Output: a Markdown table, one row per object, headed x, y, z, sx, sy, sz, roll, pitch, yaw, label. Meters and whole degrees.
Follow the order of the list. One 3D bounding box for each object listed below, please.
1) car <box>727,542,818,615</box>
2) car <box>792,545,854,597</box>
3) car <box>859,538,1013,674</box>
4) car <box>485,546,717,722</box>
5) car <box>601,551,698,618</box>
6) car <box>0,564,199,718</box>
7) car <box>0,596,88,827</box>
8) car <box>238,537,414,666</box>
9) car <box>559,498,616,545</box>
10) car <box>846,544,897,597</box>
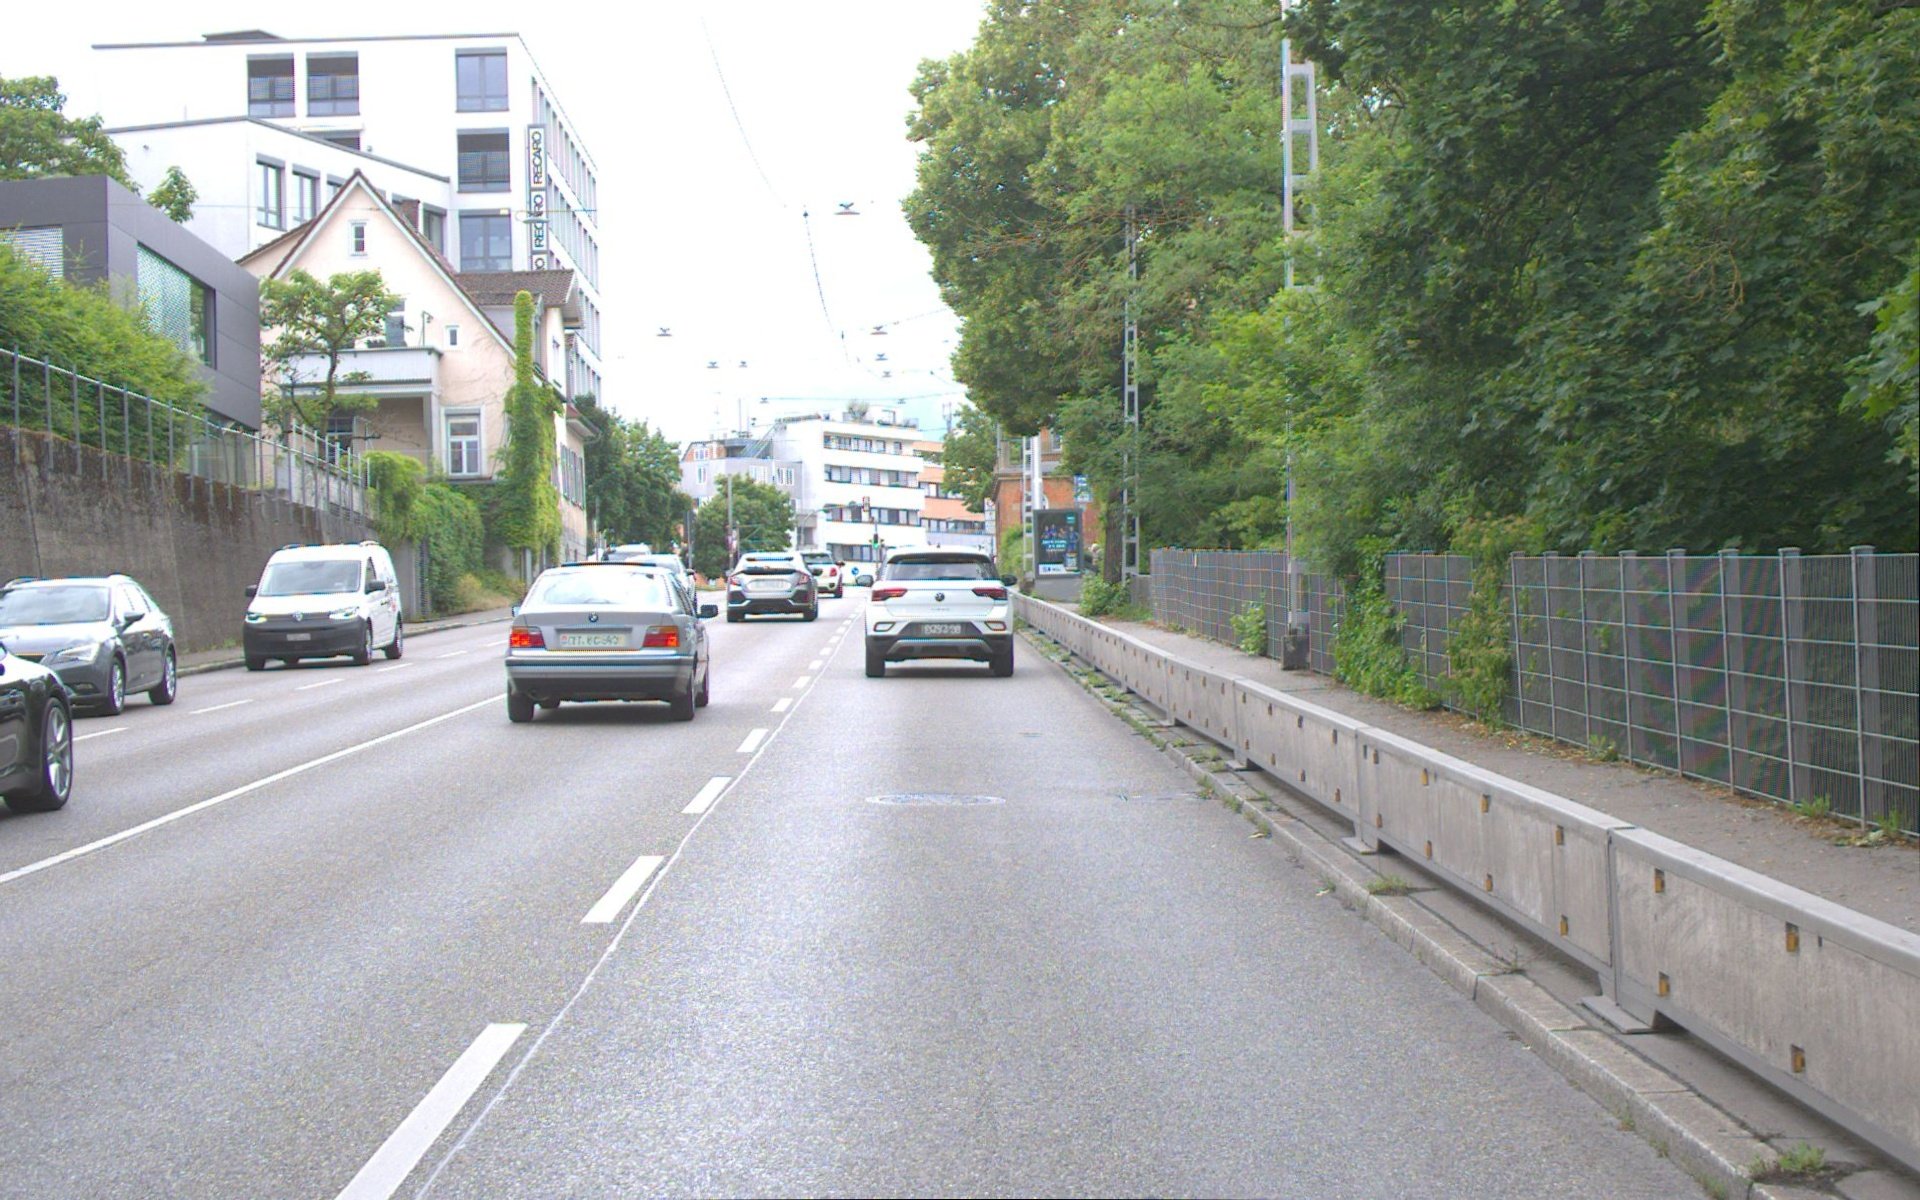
| x | y | z | sx | sy | sz | roll | pitch | yaw | label |
| --- | --- | --- | --- | --- | --- | --- | --- | --- | --- |
| -3.860 | -0.470 | 71.352 | 1.706 | 1.459 | 4.000 | -1 | 1 | -1 | car |
| -4.047 | -0.876 | 101.831 | 1.706 | 1.459 | 4.000 | -1 | 1 | -1 | car |
| -0.337 | 0.038 | 41.832 | 1.780 | 1.573 | 4.000 | 0 | 1 | -2 | car |
| -3.176 | 0.254 | 31.073 | 1.706 | 1.459 | 4.000 | -1 | 1 | -1 | car |
| -7.082 | -0.381 | 78.712 | 1.815 | 1.382 | 4.463 | -3 | 1 | -1 | car |
| -9.420 | 0.400 | 36.412 | 1.732 | 1.459 | 4.424 | -2 | 1 | -1 | car |
| -6.286 | 0.671 | 19.253 | 1.753 | 1.264 | 4.192 | -2 | 1 | -1 | car |
| -9.502 | -0.016 | 51.869 | 1.732 | 1.782 | 4.867 | -2 | 1 | -1 | car |
| -14.015 | -2.950 | 129.463 | 1.993 | 1.695 | 4.001 | -1 | 1 | -5 | car |
| -2.970 | -1.019 | 115.945 | 1.656 | 1.759 | 3.287 | 0 | 1 | 0 | car |
